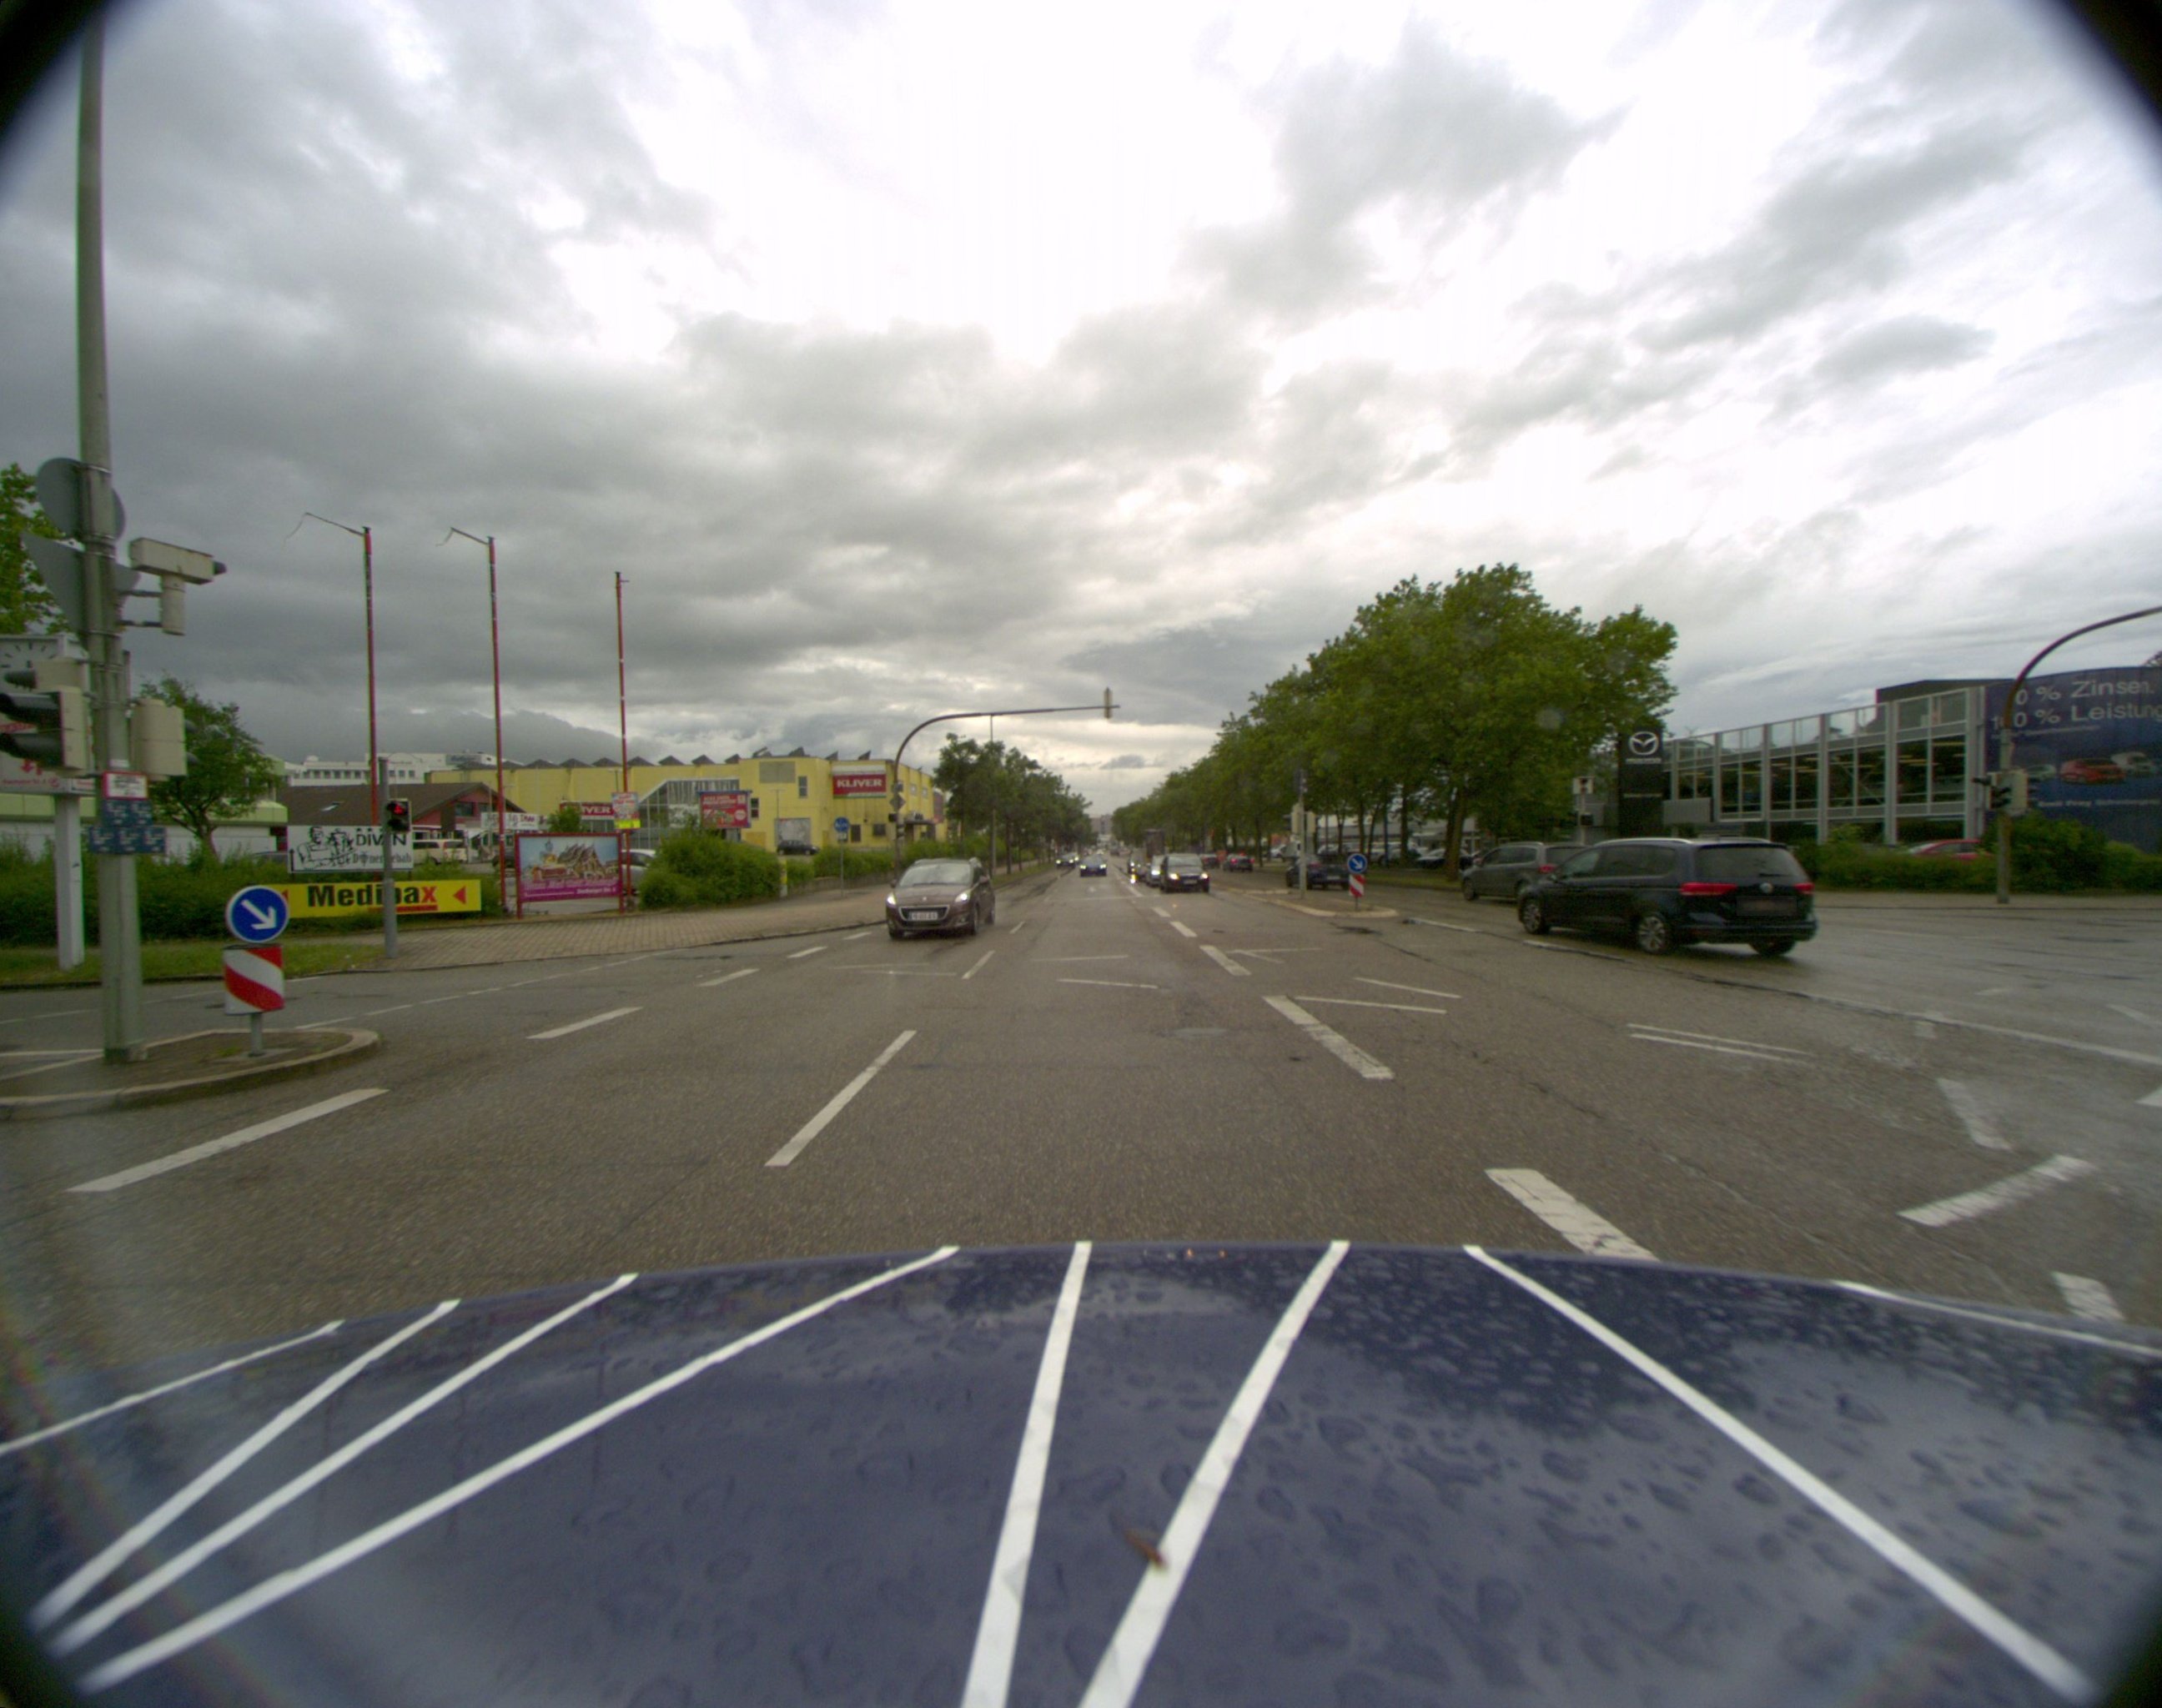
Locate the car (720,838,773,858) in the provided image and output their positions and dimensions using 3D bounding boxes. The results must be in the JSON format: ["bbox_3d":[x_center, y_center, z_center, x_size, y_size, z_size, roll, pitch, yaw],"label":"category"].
[{"bbox_3d":[-30.847,-0.521,70.213,3.997,1.769,2.000,-1,1,0],"label":"car"}]

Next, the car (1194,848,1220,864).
[{"bbox_3d":[11.579,0.187,70.073,1.715,1.375,4.173,1,1,-1],"label":"car"}]

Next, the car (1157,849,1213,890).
[{"bbox_3d":[4.056,0.571,30.056,1.717,1.481,4.077,-1,1,1],"label":"car"}]

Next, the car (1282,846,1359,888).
[{"bbox_3d":[9.543,0.466,30.601,1.715,1.571,3.999,0,0,-2],"label":"car"}]

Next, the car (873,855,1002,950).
[{"bbox_3d":[-2.925,0.919,16.538,1.730,1.615,4.470,-4,1,2],"label":"car"}]

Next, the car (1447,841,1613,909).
[{"bbox_3d":[12.632,0.525,21.823,1.915,1.717,4.883,-1,0,1],"label":"car"}]

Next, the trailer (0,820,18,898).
[{"bbox_3d":[-53.102,0.259,29.235,3.159,3.694,14.815,-3,-1,2],"label":"trailer"}]

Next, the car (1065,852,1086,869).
[{"bbox_3d":[-0.591,0.662,81.425,1.998,1.633,4.360,-3,1,2],"label":"car"}]

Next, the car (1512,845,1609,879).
[{"bbox_3d":[25.561,0.389,40.494,4.573,1.587,1.996,-3,1,-21],"label":"car"}]

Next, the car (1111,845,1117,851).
[{"bbox_3d":[8.942,-1.698,205.370,1.767,1.522,3.858,0,1,2],"label":"car"}]

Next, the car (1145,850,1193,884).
[{"bbox_3d":[4.066,0.563,35.822,1.770,1.450,4.780,-1,1,1],"label":"car"}]

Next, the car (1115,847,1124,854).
[{"bbox_3d":[9.303,-0.840,183.634,1.671,1.454,4.178,0,1,-4],"label":"car"}]

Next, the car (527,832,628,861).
[{"bbox_3d":[-32.963,-0.458,49.895,4.981,1.768,2.381,-1,0,0],"label":"car"}]

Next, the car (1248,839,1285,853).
[{"bbox_3d":[28.193,-1.237,115.396,5.058,2.002,2.129,-1,1,0],"label":"car"}]

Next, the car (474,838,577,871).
[{"bbox_3d":[-32.617,0.024,44.700,4.578,1.769,2.000,-1,1,0],"label":"car"}]

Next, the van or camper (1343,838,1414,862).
[{"bbox_3d":[24.302,-0.342,62.047,5.380,1.760,2.100,-1,4,-21],"label":"van or camper"}]

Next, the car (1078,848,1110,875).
[{"bbox_3d":[0.949,0.457,52.988,1.998,1.633,4.360,-3,1,2],"label":"car"}]

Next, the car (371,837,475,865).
[{"bbox_3d":[-44.993,-0.195,52.076,4.981,1.768,2.381,-1,0,0],"label":"car"}]

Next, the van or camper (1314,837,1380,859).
[{"bbox_3d":[23.231,-0.545,66.362,5.306,1.811,2.262,-1,1,-24],"label":"van or camper"}]

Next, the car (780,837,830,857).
[{"bbox_3d":[-26.400,-0.665,72.820,3.997,1.769,2.000,-1,1,0],"label":"car"}]

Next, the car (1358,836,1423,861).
[{"bbox_3d":[23.920,-0.455,58.772,4.472,1.805,1.996,-1,1,-21],"label":"car"}]

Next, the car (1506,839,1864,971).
[{"bbox_3d":[8.693,0.619,11.571,1.916,1.599,4.362,-1,0,-1],"label":"car"}]

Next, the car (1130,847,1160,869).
[{"bbox_3d":[4.740,0.274,56.914,1.912,1.569,4.880,-1,1,2],"label":"car"}]

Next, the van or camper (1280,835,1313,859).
[{"bbox_3d":[23.895,-0.815,84.424,1.998,2.456,6.401,-3,1,2],"label":"van or camper"}]

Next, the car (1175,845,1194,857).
[{"bbox_3d":[12.535,-0.384,92.304,1.714,1.456,4.084,0,1,0],"label":"car"}]

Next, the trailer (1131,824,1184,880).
[{"bbox_3d":[4.173,-0.123,42.326,2.378,2.880,5.544,-1,1,0],"label":"trailer"}]
